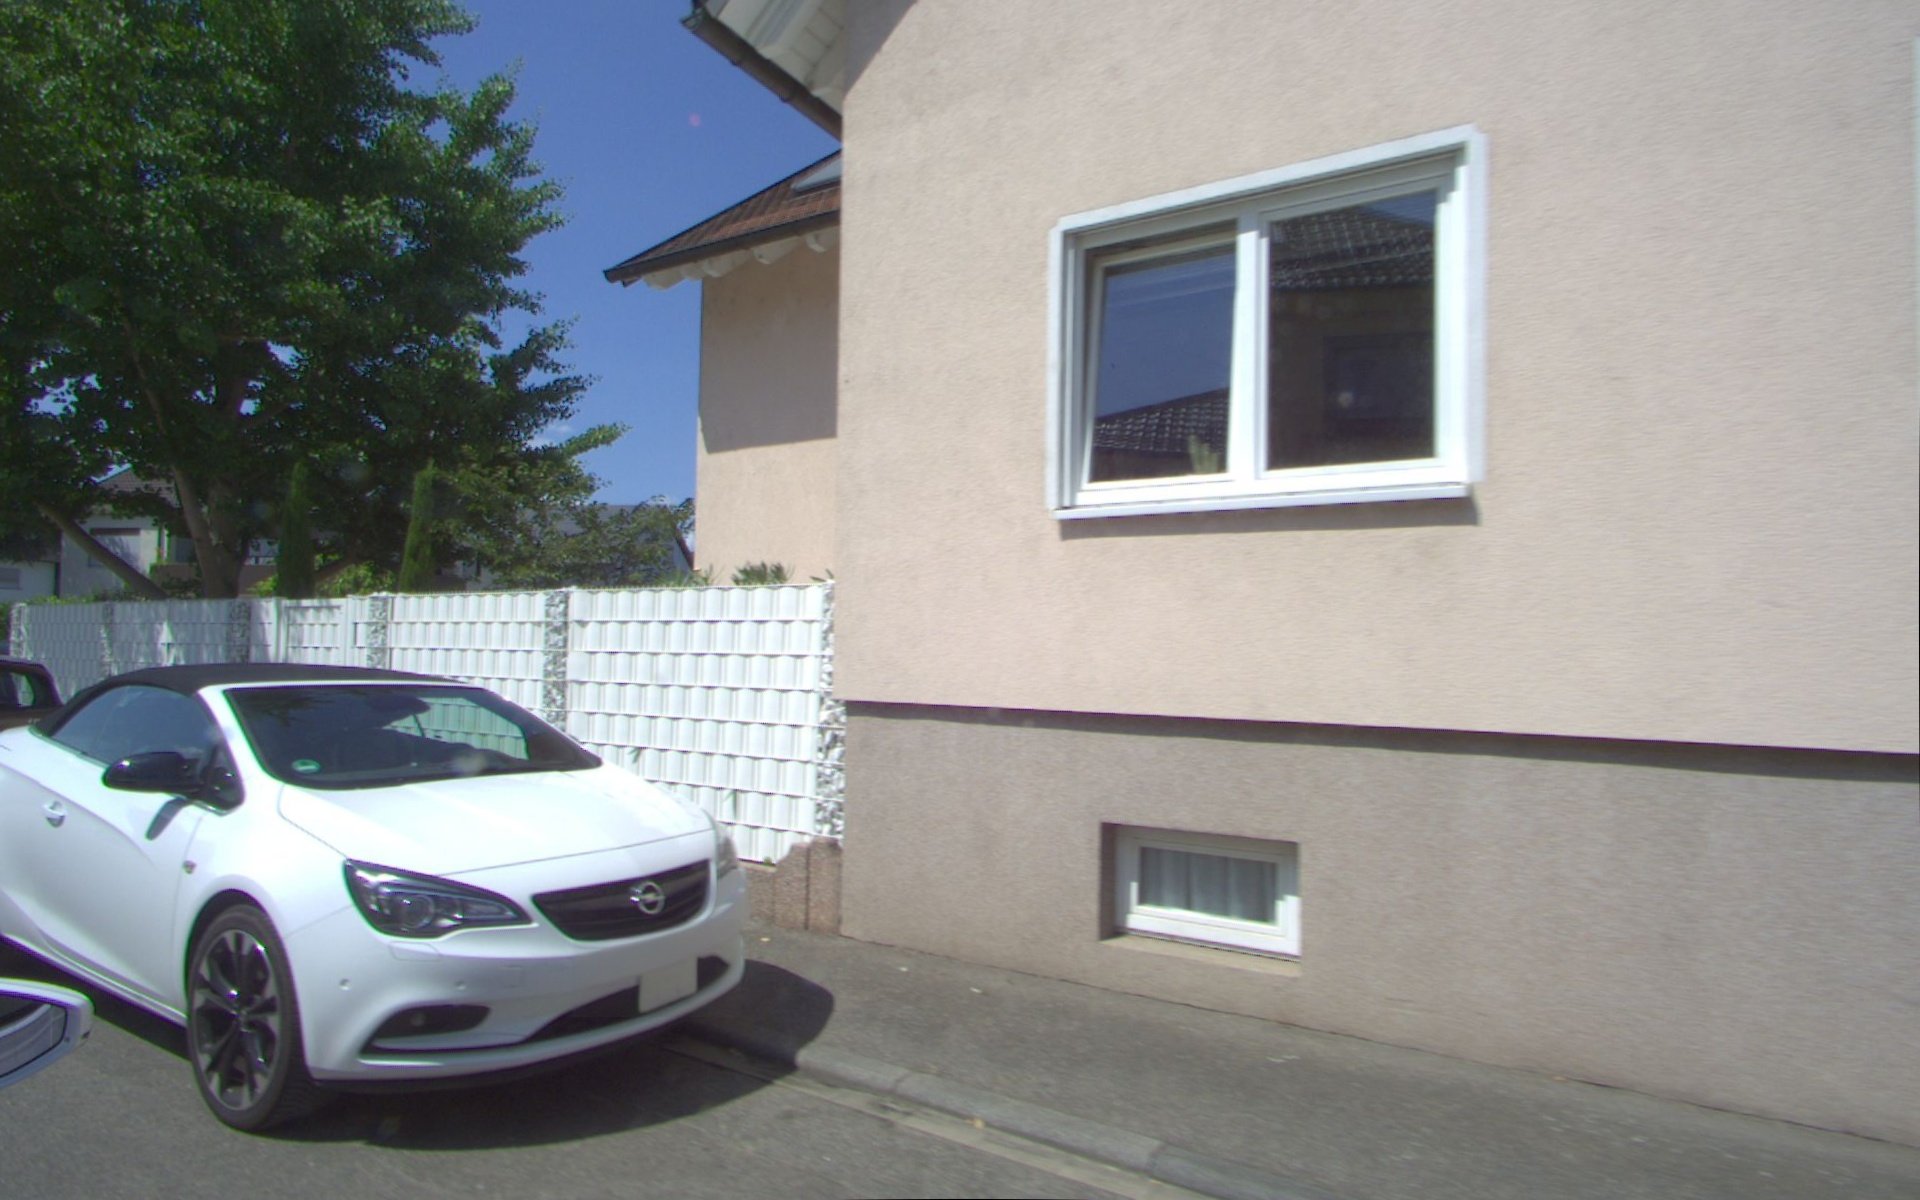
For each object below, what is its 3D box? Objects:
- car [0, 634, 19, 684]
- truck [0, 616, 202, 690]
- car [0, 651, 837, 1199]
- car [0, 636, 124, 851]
[{"bbox_3d":[-32.545,1.797,31.684,4.063,1.582,1.805,1,-3,8],"label":"car"},{"bbox_3d":[-26.461,1.570,30.211,5.602,2.038,2.373,1,-3,7],"label":"truck"},{"bbox_3d":[-3.023,1.009,4.697,4.667,1.446,1.894,-1,-4,31],"label":"car"},{"bbox_3d":[-8.768,1.041,8.113,3.975,1.550,1.713,-1,-7,31],"label":"car"}]
